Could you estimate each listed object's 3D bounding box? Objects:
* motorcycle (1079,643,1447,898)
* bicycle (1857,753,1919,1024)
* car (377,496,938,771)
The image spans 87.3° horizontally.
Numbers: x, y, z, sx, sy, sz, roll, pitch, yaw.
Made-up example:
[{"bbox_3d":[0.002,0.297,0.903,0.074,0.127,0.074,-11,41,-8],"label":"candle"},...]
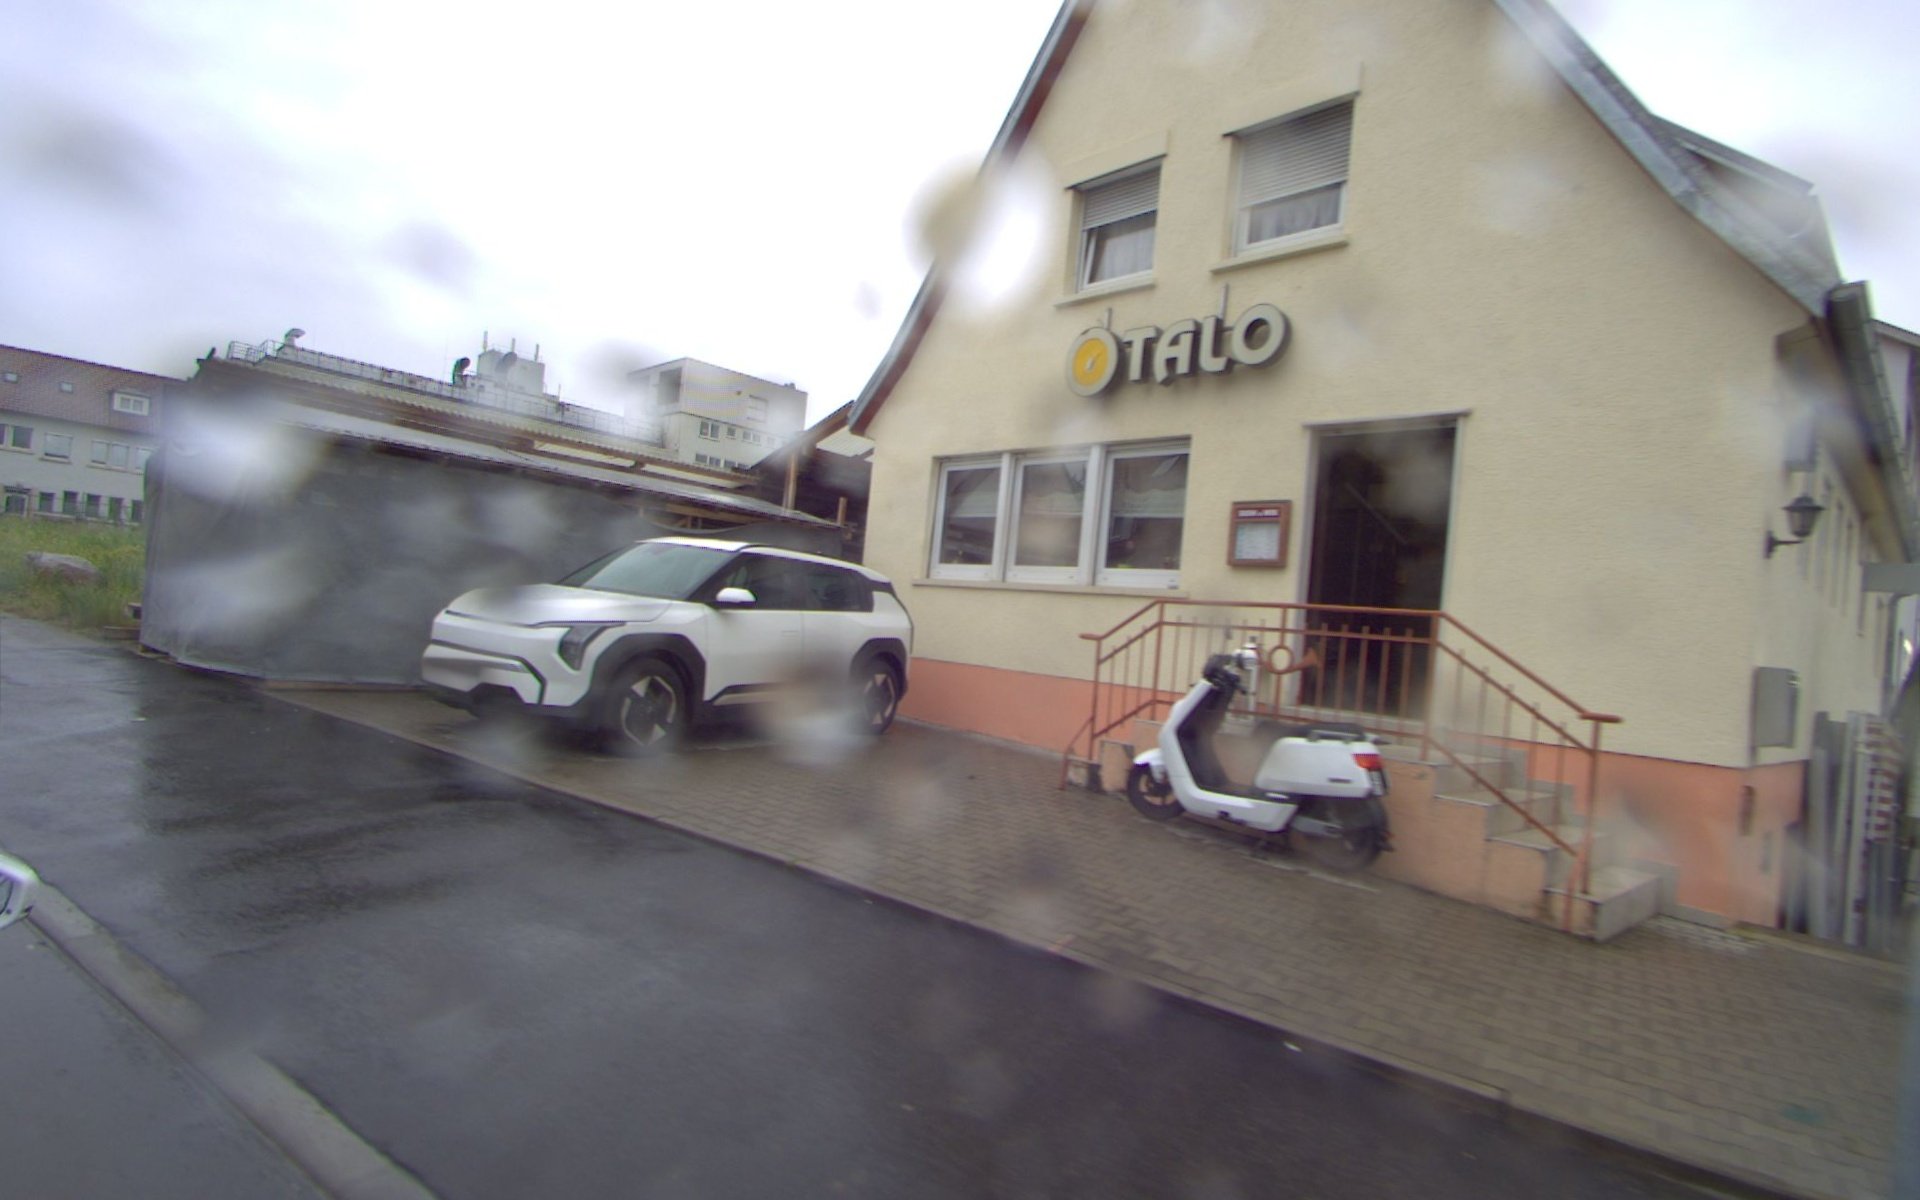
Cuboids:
[{"bbox_3d":[1.749,0.944,6.069,1.970,1.109,0.487,7,0,38],"label":"motorcycle"},{"bbox_3d":[4.771,1.336,4.788,1.765,1.109,0.483,9,-1,-43],"label":"bicycle"},{"bbox_3d":[-2.154,0.260,8.349,1.831,1.630,4.218,5,0,32],"label":"car"}]
